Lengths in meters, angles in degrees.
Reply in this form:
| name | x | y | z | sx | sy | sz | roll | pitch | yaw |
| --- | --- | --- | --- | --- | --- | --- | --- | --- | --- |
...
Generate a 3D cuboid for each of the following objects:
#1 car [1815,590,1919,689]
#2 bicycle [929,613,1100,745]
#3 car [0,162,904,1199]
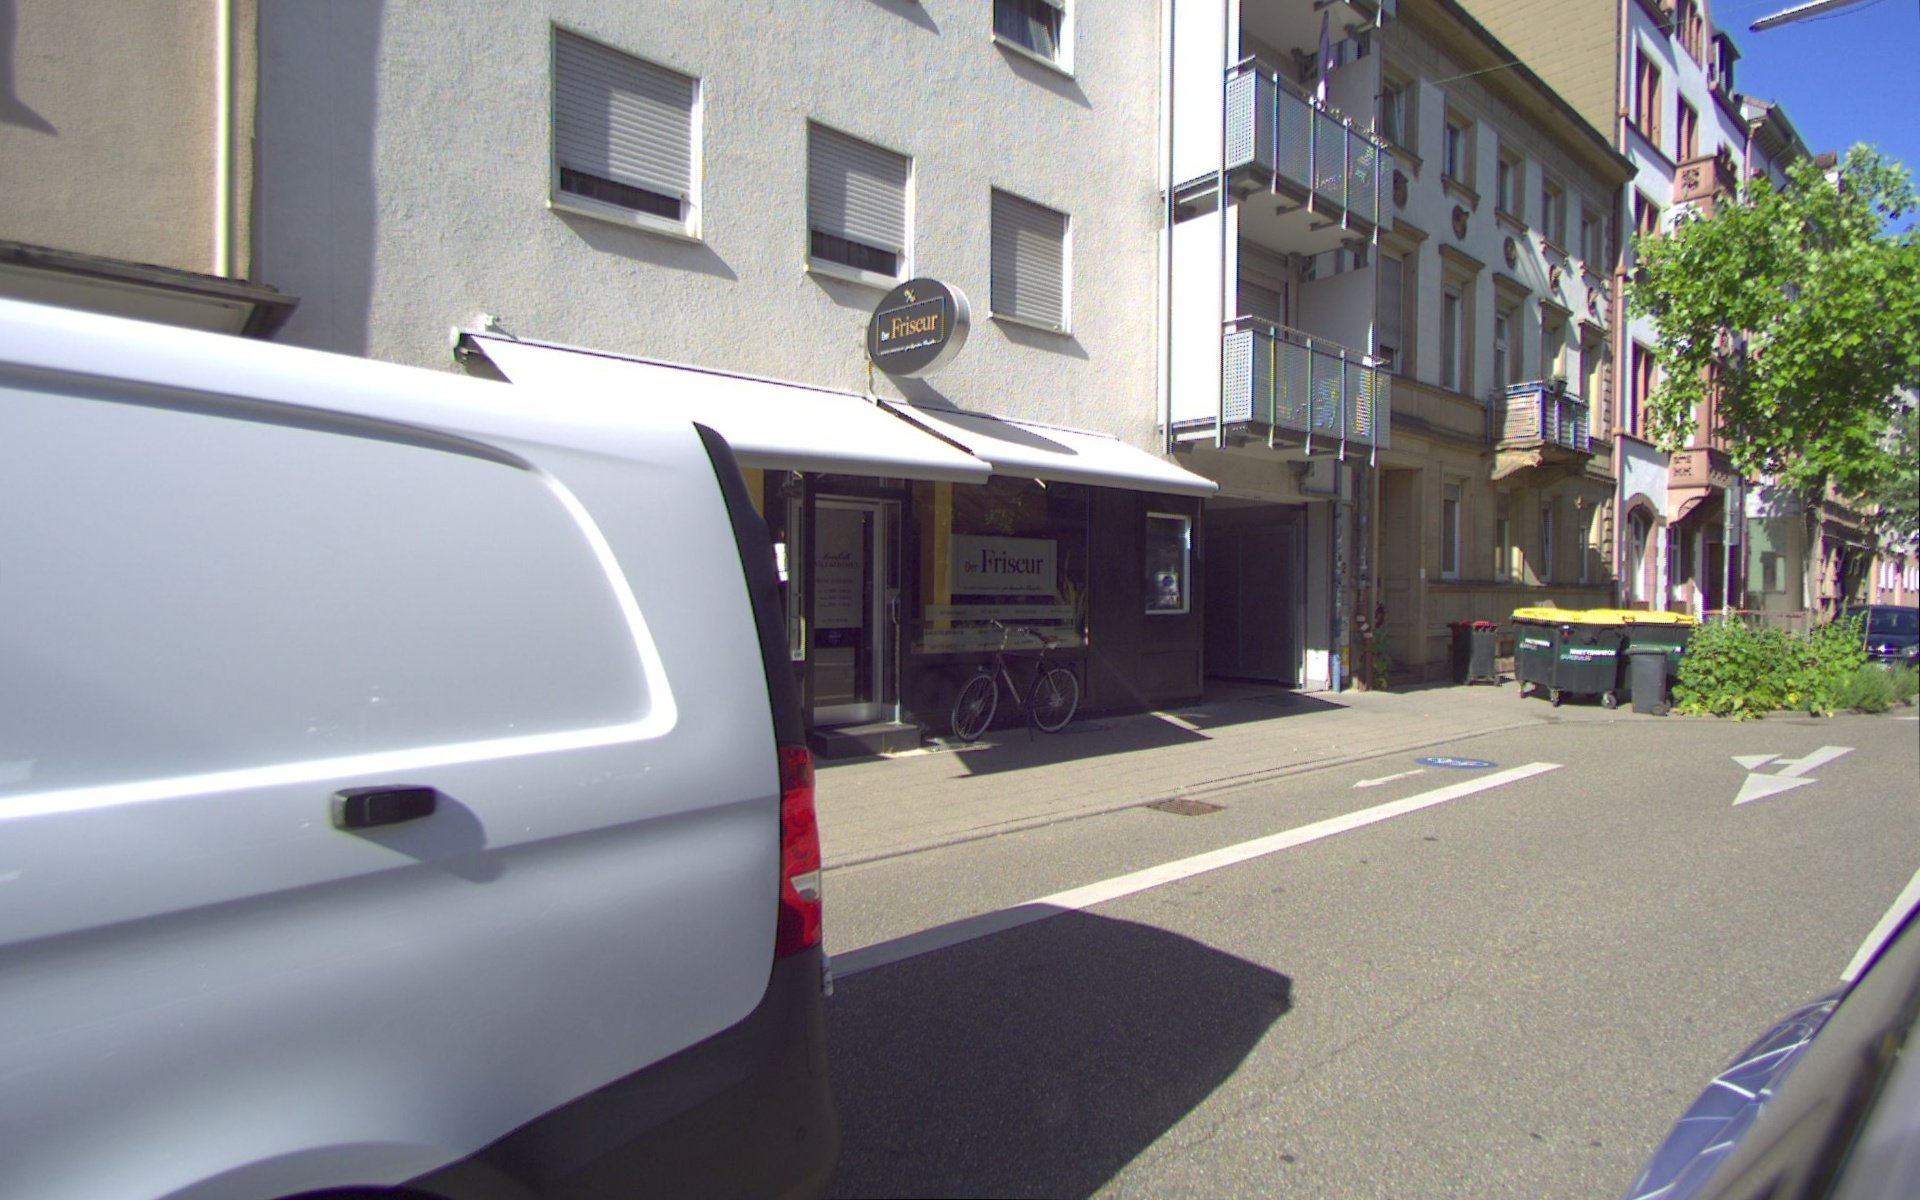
| name | x | y | z | sx | sy | sz | roll | pitch | yaw |
| --- | --- | --- | --- | --- | --- | --- | --- | --- | --- |
| car | 16.782 | 0.645 | 18.204 | 3.485 | 1.616 | 1.626 | 0 | 1 | -41 |
| bicycle | 0.571 | 0.735 | 10.087 | 1.743 | 1.157 | 0.598 | 0 | 3 | -41 |
| car | -2.512 | 0.472 | 0.952 | 4.750 | 1.833 | 1.971 | -1 | 1 | -42 |
